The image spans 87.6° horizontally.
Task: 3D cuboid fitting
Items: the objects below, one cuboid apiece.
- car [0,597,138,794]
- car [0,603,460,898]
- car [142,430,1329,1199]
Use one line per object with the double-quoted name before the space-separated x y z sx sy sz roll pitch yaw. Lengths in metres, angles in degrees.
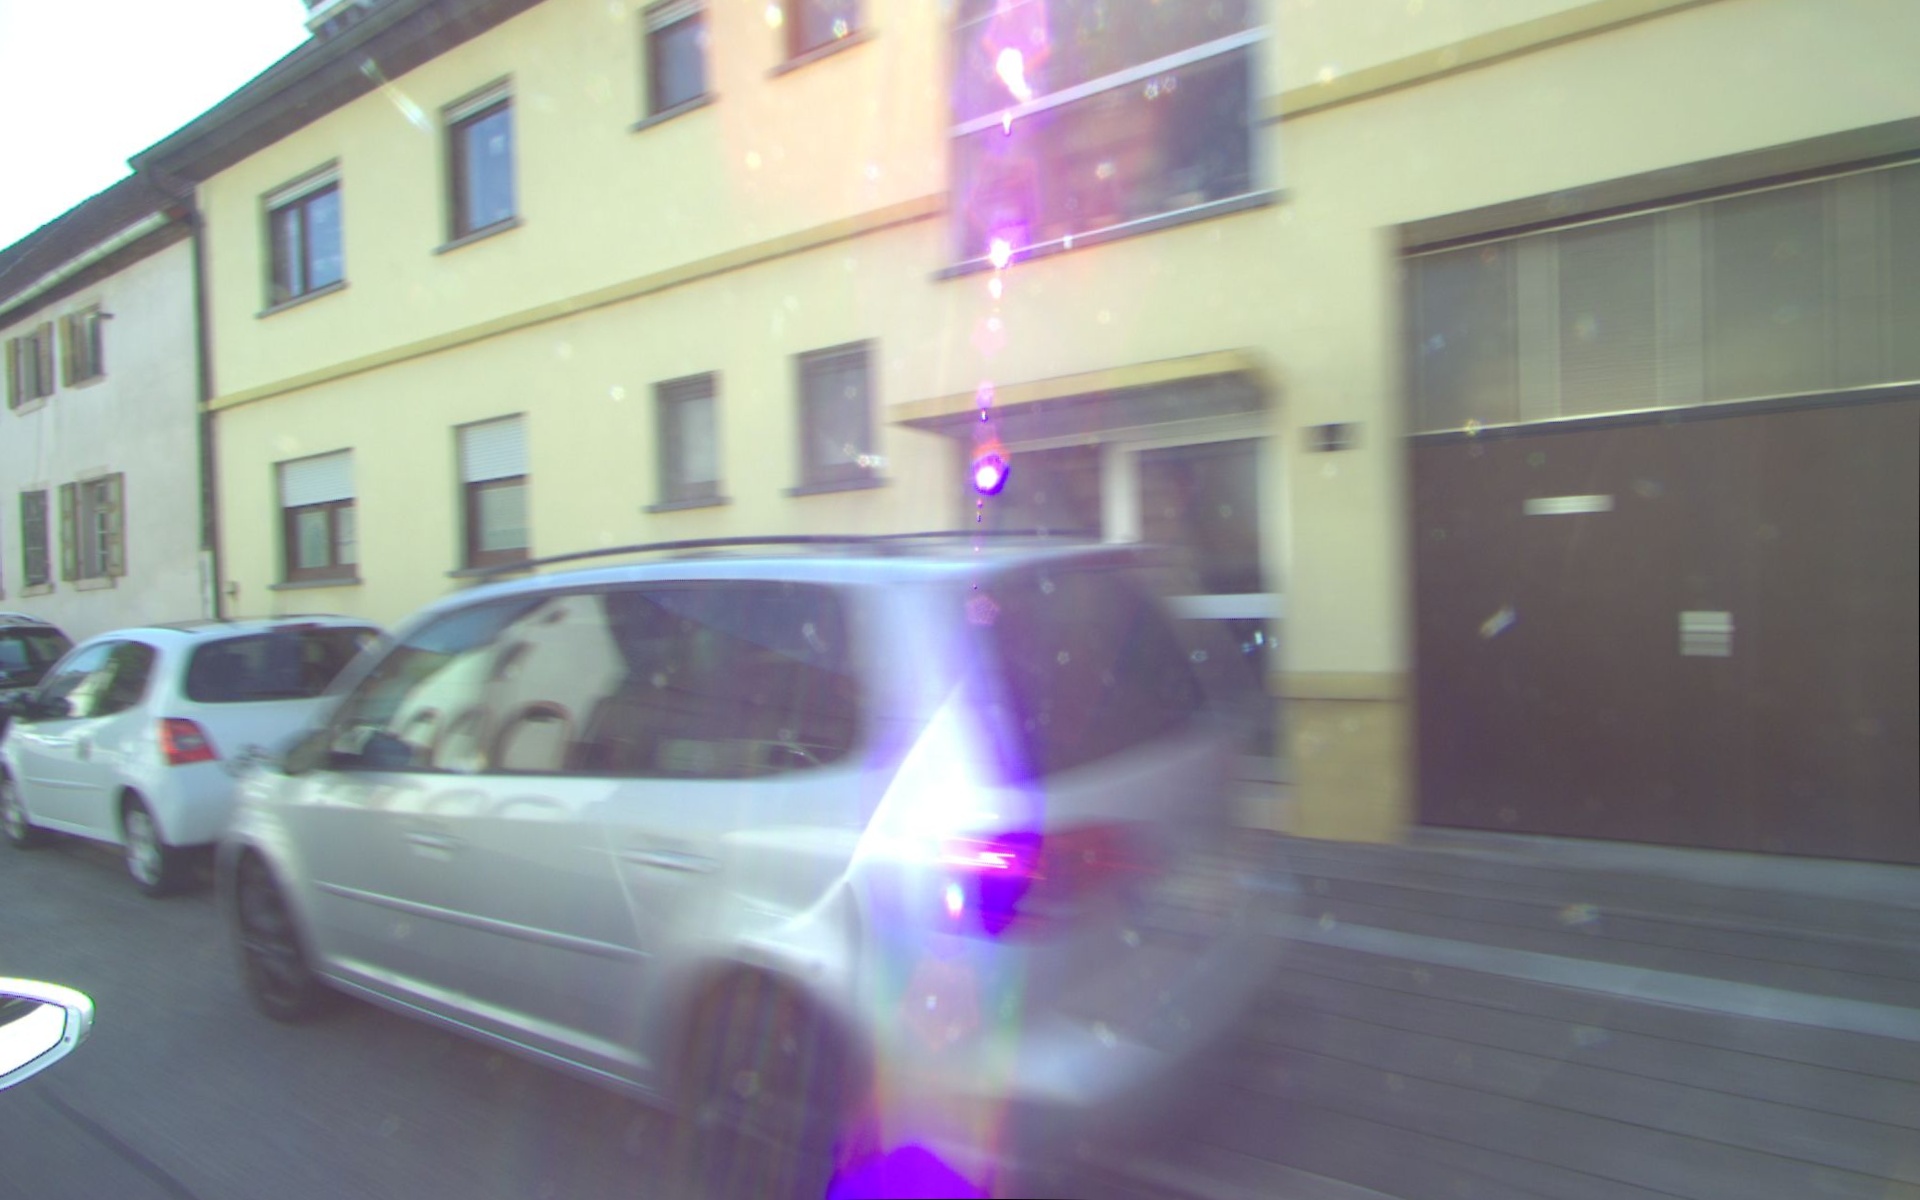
"car" -9.603 0.845 9.402 3.970 1.605 1.695 -1 1 32
"car" -5.165 0.809 6.754 3.669 1.457 1.546 -1 1 34
"car" -1.043 0.632 3.686 4.190 1.750 1.894 -1 -1 34
